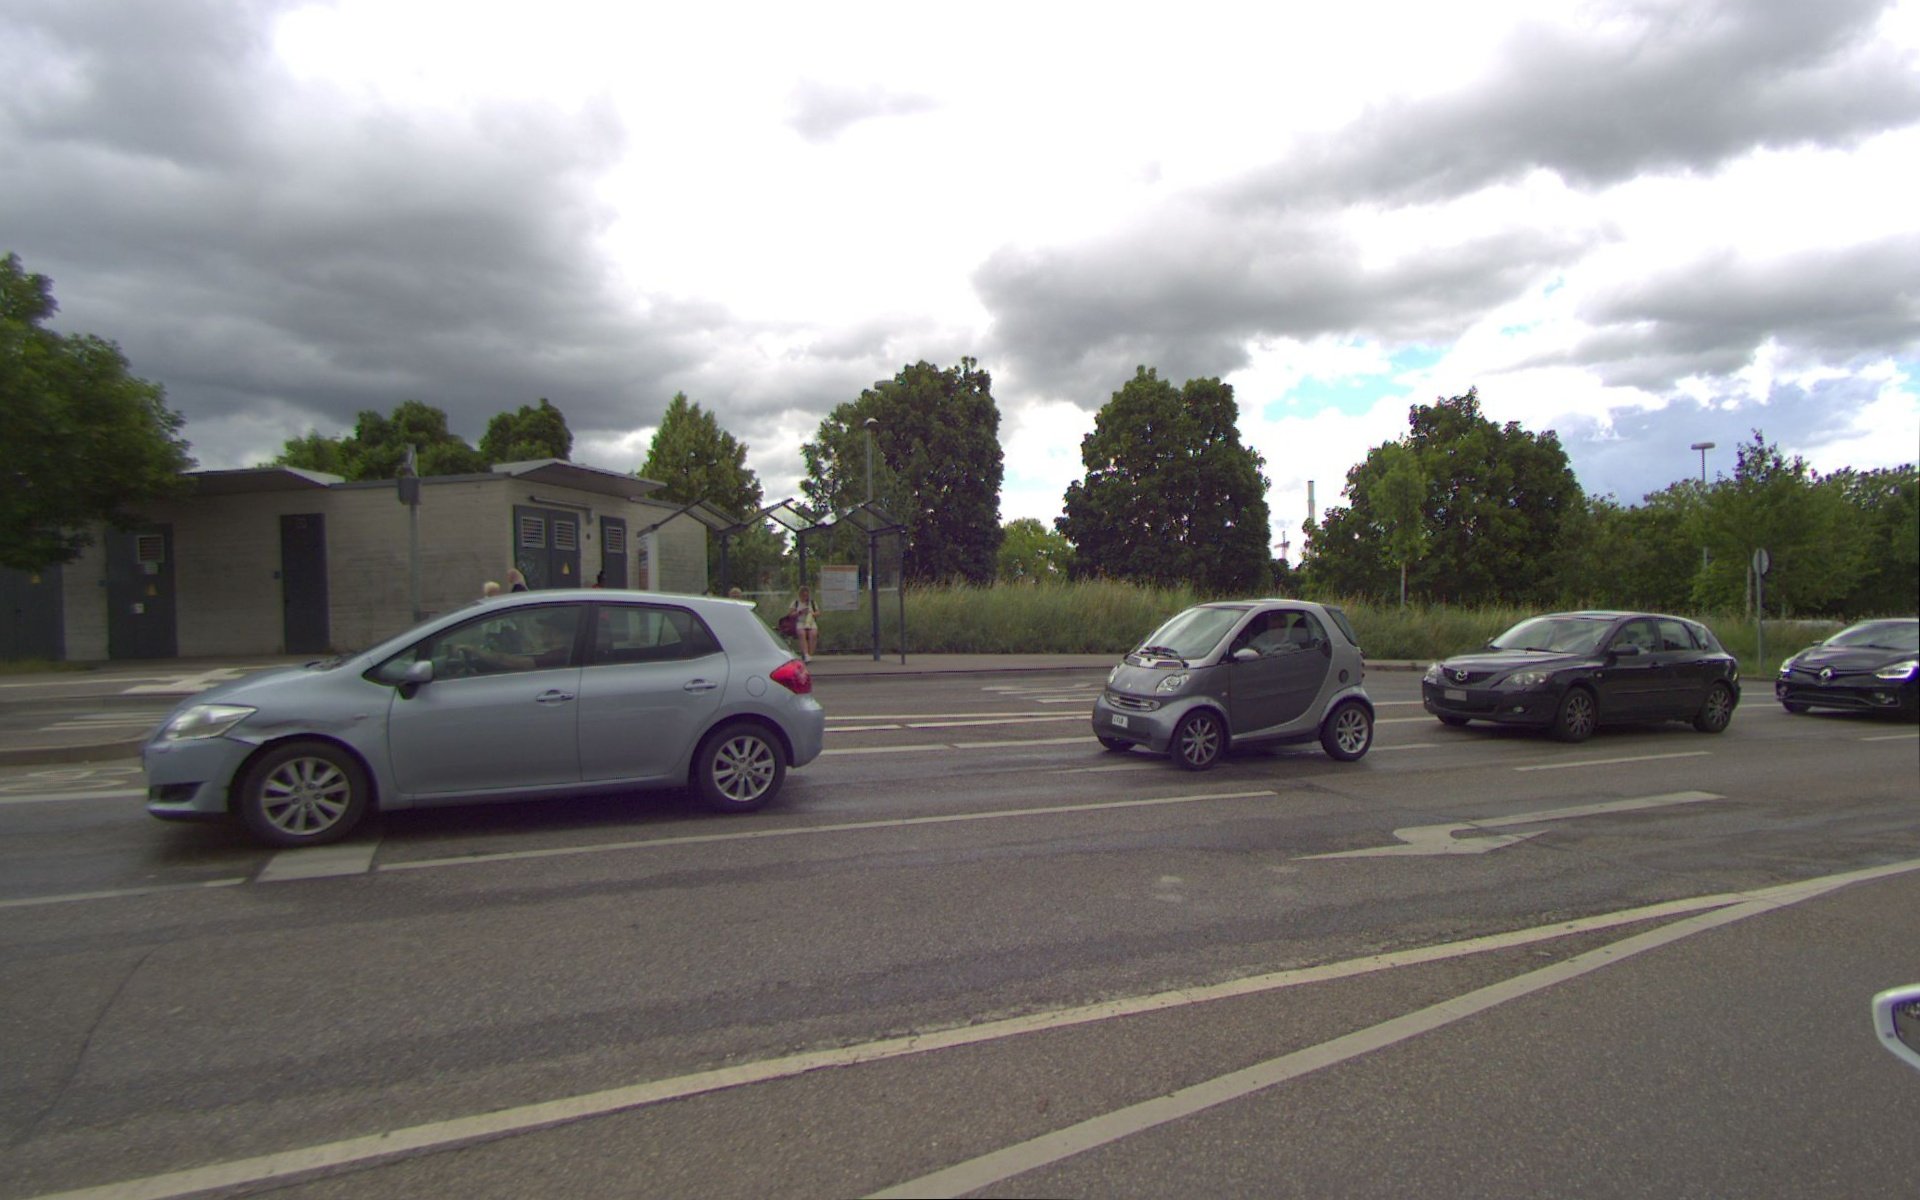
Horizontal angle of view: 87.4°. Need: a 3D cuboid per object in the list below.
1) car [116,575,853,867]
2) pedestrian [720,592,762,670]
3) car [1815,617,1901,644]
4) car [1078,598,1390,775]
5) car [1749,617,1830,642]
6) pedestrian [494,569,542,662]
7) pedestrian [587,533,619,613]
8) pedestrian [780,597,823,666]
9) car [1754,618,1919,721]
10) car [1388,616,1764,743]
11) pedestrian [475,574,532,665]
[{"bbox_3d":[-3.019,0.677,7.108,4.163,1.556,1.821,0,-1,-26],"label":"car"},{"bbox_3d":[-3.921,0.542,17.987,0.544,1.348,0.768,0,0,-30],"label":"pedestrian"},{"bbox_3d":[74.280,2.528,83.142,1.973,2.219,4.953,1,-2,-25],"label":"car"},{"bbox_3d":[2.715,0.775,10.009,2.736,1.547,1.425,0,-1,-24],"label":"car"},{"bbox_3d":[69.702,2.512,84.509,1.972,2.040,4.956,1,-2,-23],"label":"car"},{"bbox_3d":[-8.206,0.291,18.671,0.625,1.692,0.551,0,0,6],"label":"pedestrian"},{"bbox_3d":[-7.700,-0.575,21.680,0.420,1.692,0.551,0,0,15],"label":"pedestrian"},{"bbox_3d":[-2.928,0.573,18.511,0.544,1.243,0.768,0,0,-30],"label":"pedestrian"},{"bbox_3d":[13.768,0.934,14.681,4.001,1.350,1.636,0,-1,-22],"label":"car"},{"bbox_3d":[7.574,0.874,12.346,4.318,1.350,1.795,0,-1,-23],"label":"car"},{"bbox_3d":[-7.133,0.300,15.691,0.765,1.382,0.546,0,0,-29],"label":"pedestrian"}]
